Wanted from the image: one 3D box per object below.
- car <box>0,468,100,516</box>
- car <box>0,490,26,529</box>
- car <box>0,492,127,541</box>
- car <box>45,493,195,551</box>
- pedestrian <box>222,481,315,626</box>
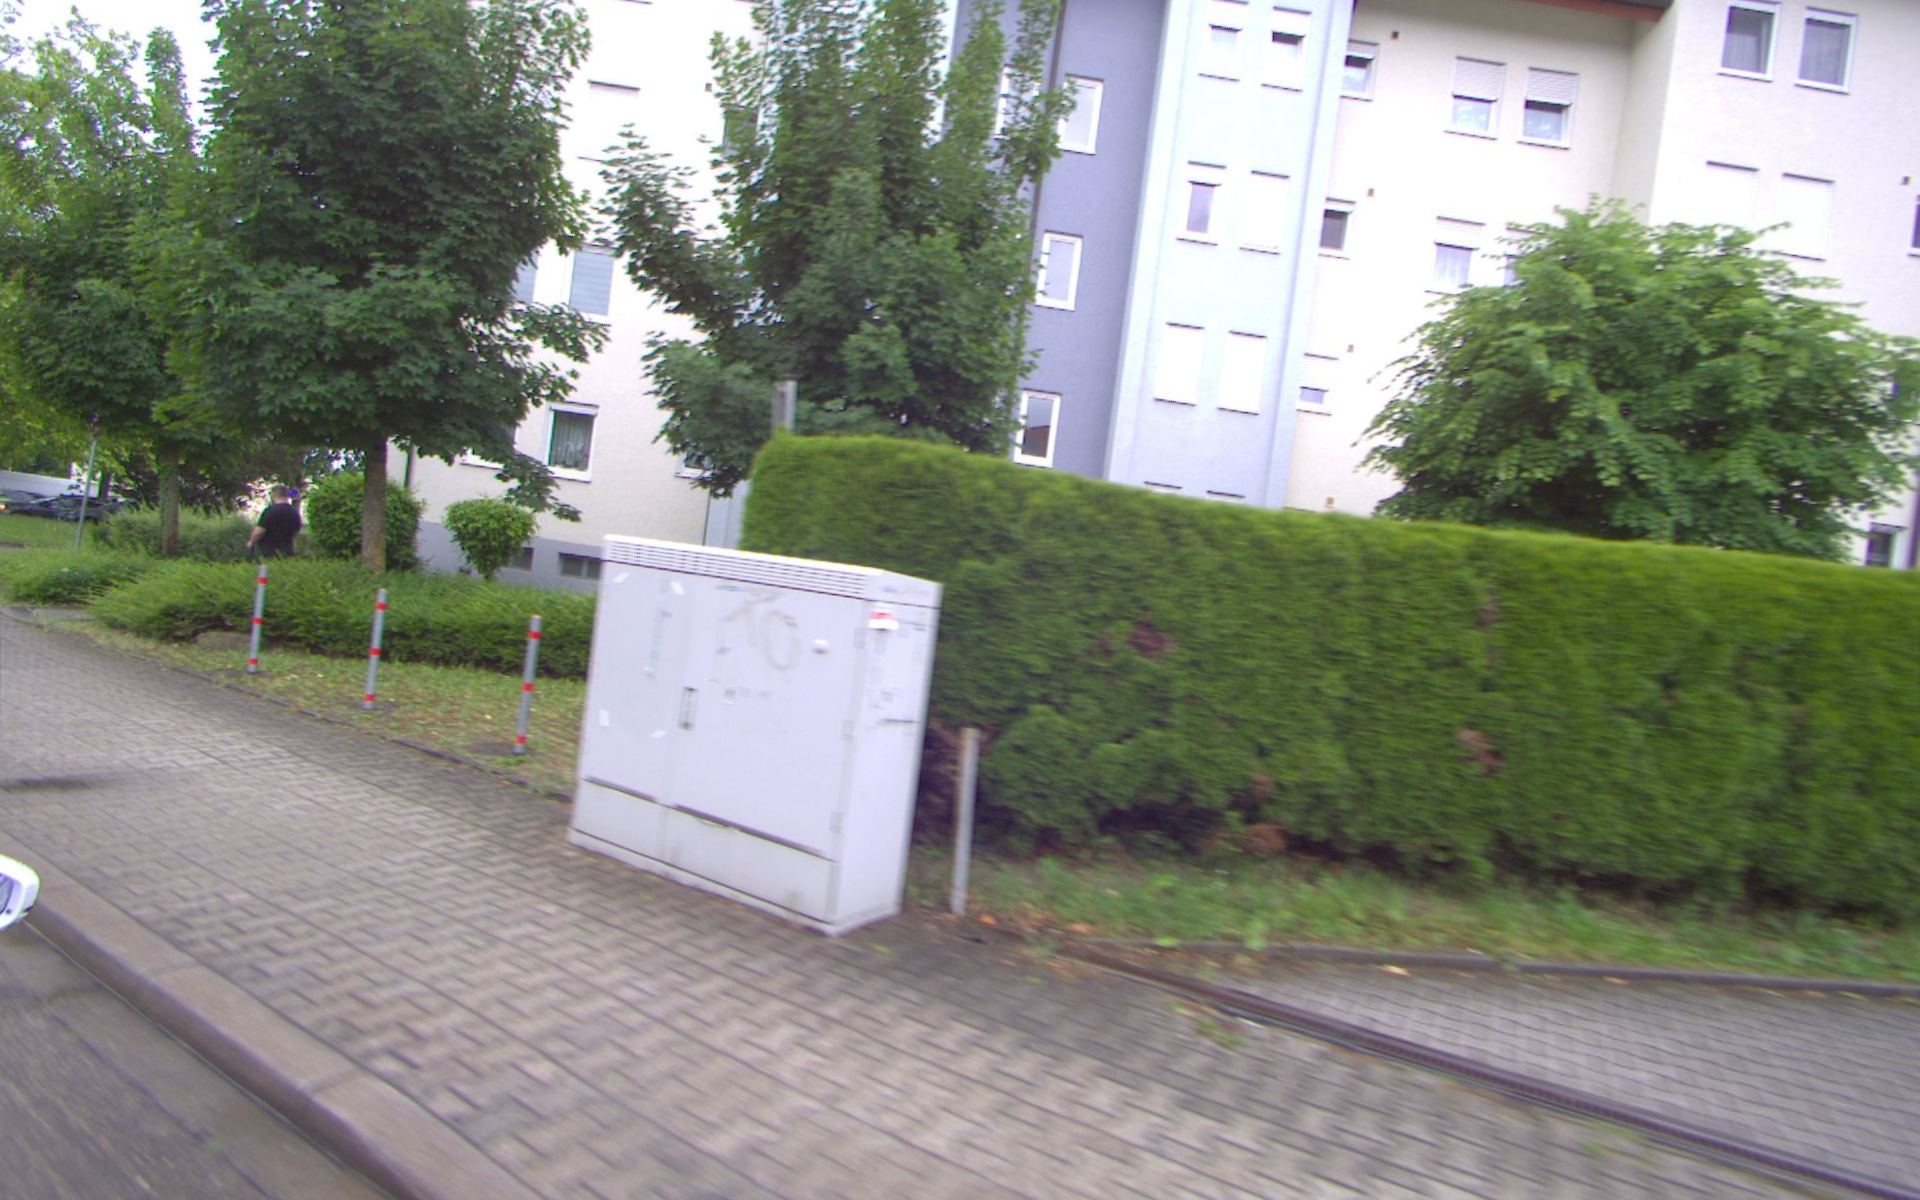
[{"bbox_3d":[-53.126,-6.256,57.346,1.963,2.039,5.836,7,0,23],"label":"car"},{"bbox_3d":[-39.647,-3.809,39.437,1.733,1.461,4.017,7,0,27],"label":"car"},{"bbox_3d":[-35.710,-3.293,39.625,1.733,1.388,4.017,7,0,27],"label":"car"},{"bbox_3d":[-32.799,-3.027,39.358,1.741,1.647,4.270,7,0,43],"label":"car"},{"bbox_3d":[-9.052,-0.601,13.179,0.659,1.794,0.614,7,0,30],"label":"pedestrian"}]
